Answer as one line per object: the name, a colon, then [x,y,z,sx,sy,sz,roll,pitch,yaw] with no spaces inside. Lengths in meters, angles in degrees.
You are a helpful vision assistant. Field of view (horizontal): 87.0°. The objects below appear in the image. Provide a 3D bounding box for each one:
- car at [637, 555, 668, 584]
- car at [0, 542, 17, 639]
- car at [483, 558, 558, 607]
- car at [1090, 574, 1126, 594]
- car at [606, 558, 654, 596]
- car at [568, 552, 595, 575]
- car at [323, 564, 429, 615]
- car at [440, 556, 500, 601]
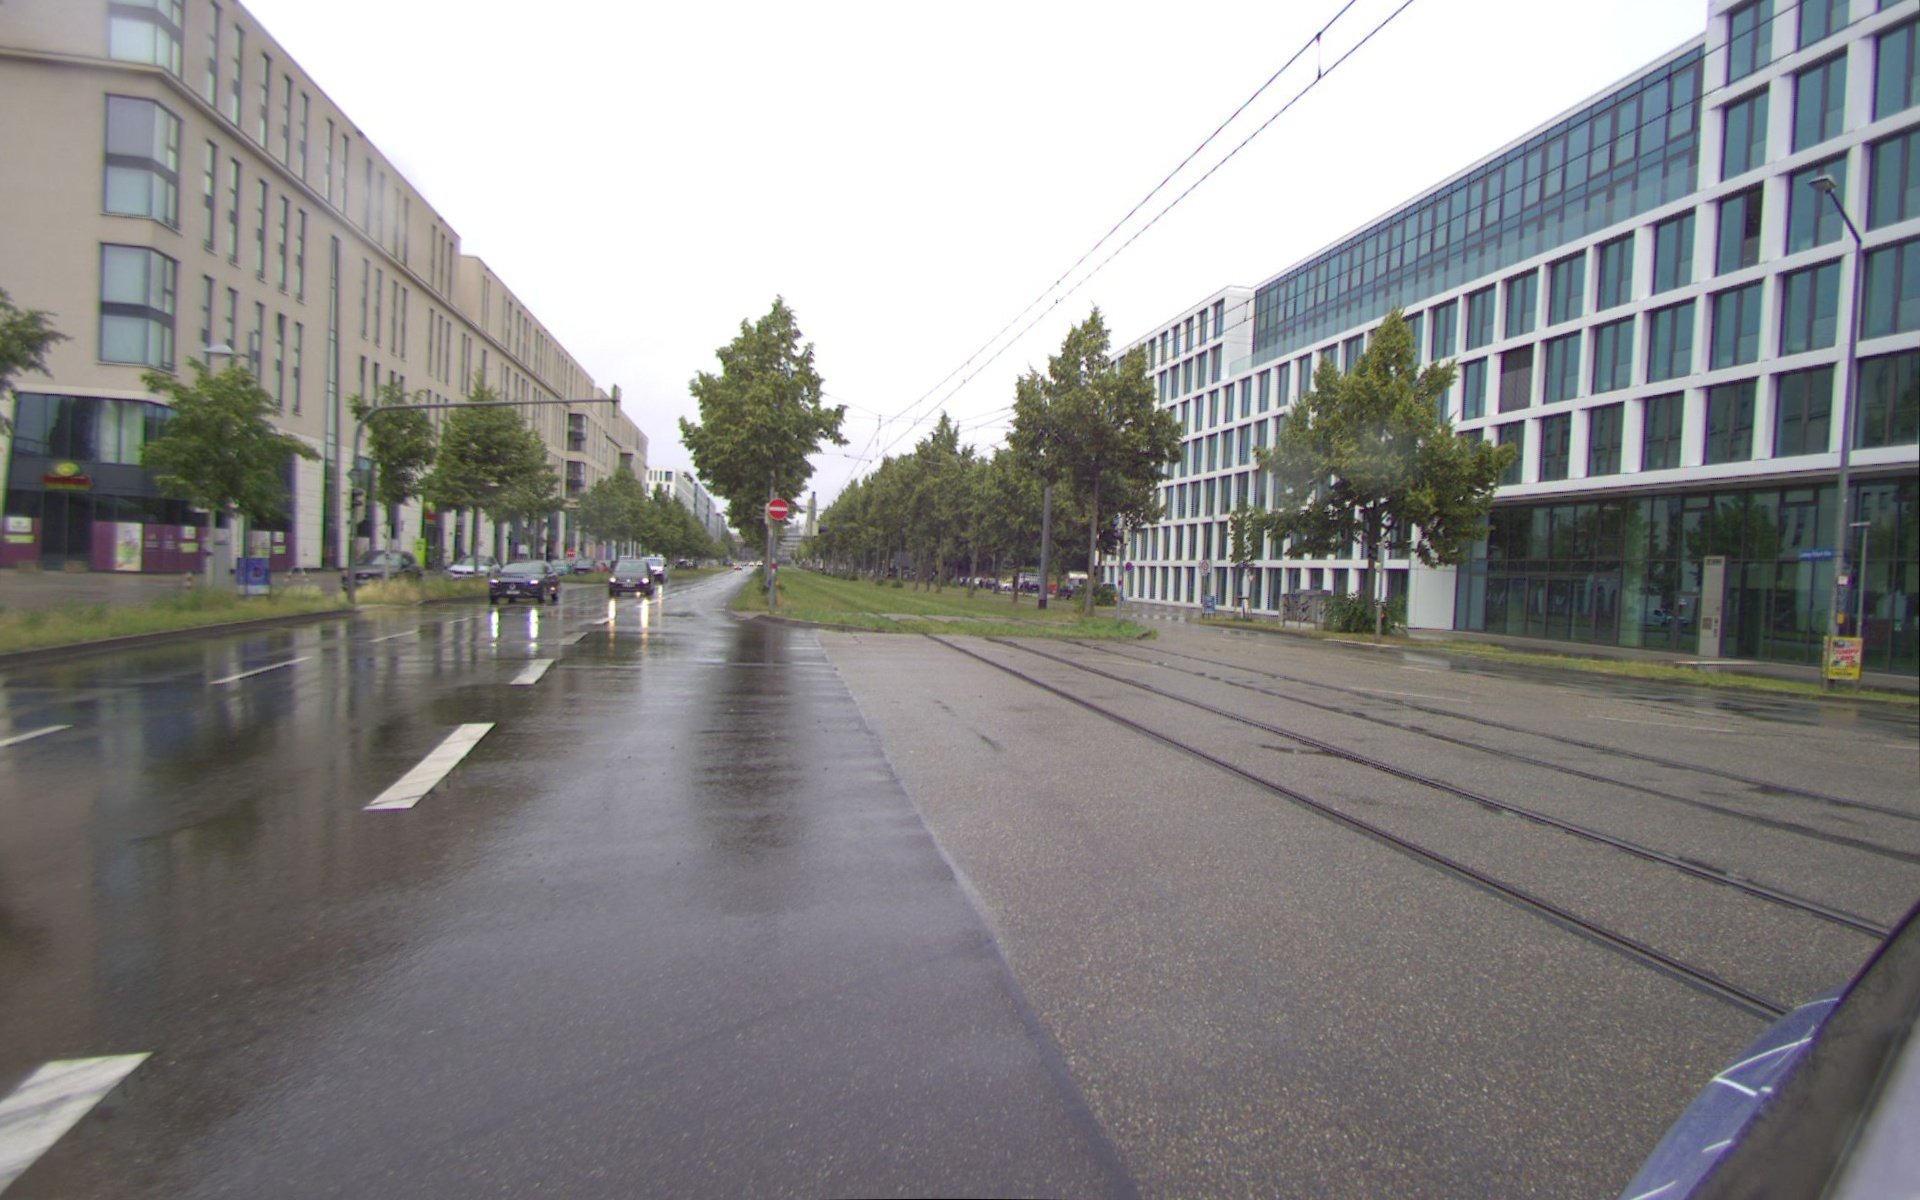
car: [-22.555,-2.173,74.262,1.722,1.950,4.007,2,0,-11]
car: [-17.653,-0.203,15.845,1.958,1.729,4.847,2,0,-12]
car: [-15.209,-0.590,35.209,1.653,1.549,3.976,2,0,-13]
car: [13.139,-1.383,90.210,1.708,1.629,4.244,2,0,-13]
car: [-14.634,-0.987,44.964,1.623,1.549,3.783,2,0,-13]
car: [-29.735,-2.841,79.598,1.609,1.608,3.937,2,0,-15]
car: [-21.683,-0.379,37.789,1.958,1.729,4.847,2,0,-12]
car: [-23.801,-1.024,49.260,1.876,2.039,4.008,2,0,-16]
